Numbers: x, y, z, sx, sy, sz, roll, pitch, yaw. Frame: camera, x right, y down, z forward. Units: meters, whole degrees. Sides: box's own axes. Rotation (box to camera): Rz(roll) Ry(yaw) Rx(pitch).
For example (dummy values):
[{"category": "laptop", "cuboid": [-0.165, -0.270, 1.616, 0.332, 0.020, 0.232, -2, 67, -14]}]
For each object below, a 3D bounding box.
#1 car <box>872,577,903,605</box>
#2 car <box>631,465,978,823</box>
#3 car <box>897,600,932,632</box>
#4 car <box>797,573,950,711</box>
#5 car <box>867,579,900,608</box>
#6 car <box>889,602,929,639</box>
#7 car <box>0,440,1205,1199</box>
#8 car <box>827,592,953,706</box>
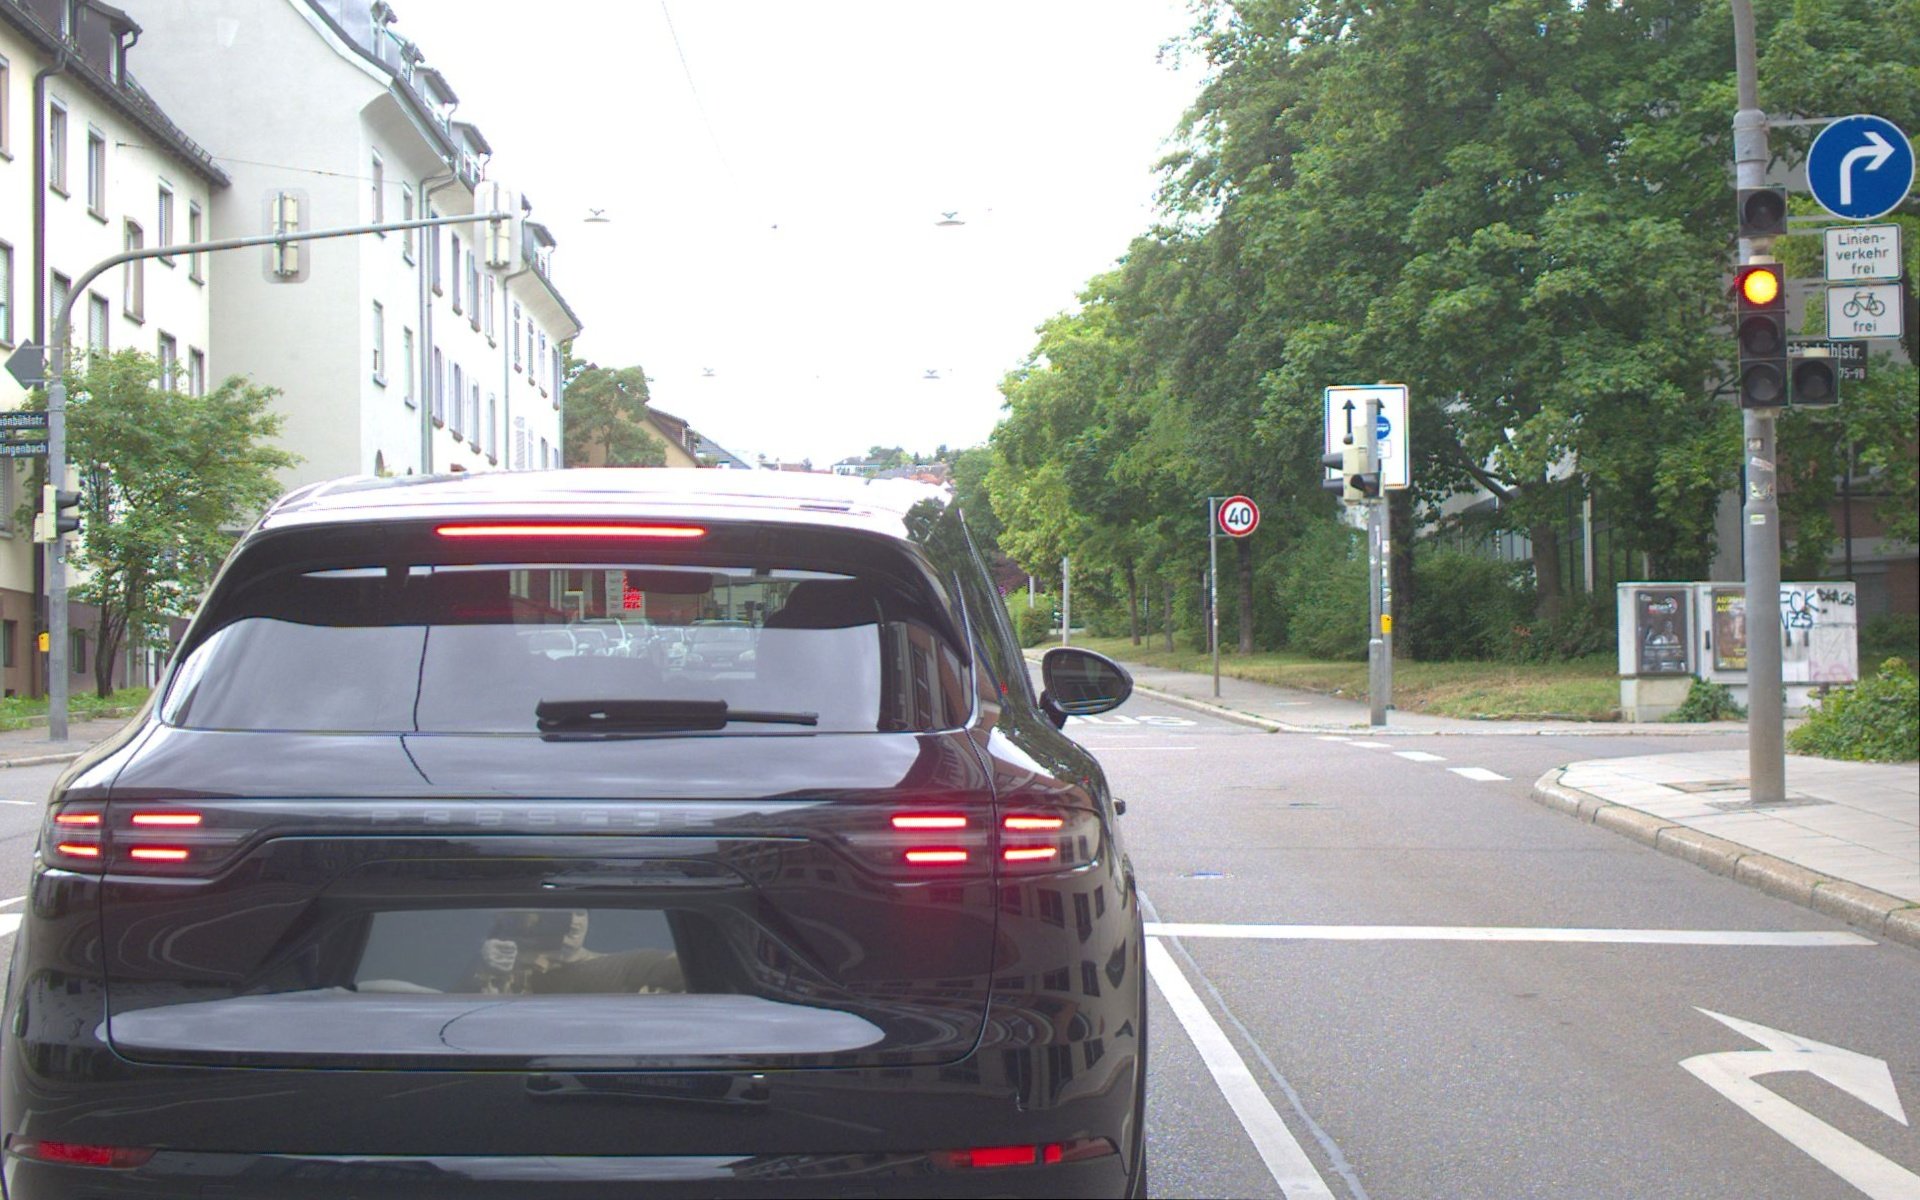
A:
[{"category": "car", "cuboid": [-4.413, -0.539, 210.277, 1.827, 1.599, 4.135, 1, 1, 0]}, {"category": "car", "cuboid": [-0.910, 0.219, 21.904, 1.965, 2.035, 4.135, 1, 1, 0]}, {"category": "car", "cuboid": [-2.410, 0.854, 182.492, 1.827, 1.599, 4.135, 1, 1, 0]}, {"category": "car", "cuboid": [-1.063, 0.495, 43.829, 1.827, 1.599, 4.135, 1, 1, 0]}, {"category": "car", "cuboid": [-4.510, -0.386, 202.951, 1.827, 1.599, 4.135, 1, 1, 0]}, {"category": "car", "cuboid": [-2.398, 0.964, 163.316, 1.827, 1.599, 4.135, 1, 1, 0]}, {"category": "car", "cuboid": [-0.686, 0.568, 7.257, 2.048, 1.660, 4.267, 1, 1, 0]}, {"category": "car", "cuboid": [-1.040, 0.719, 52.547, 1.827, 1.599, 3.859, 1, 1, 0]}]
